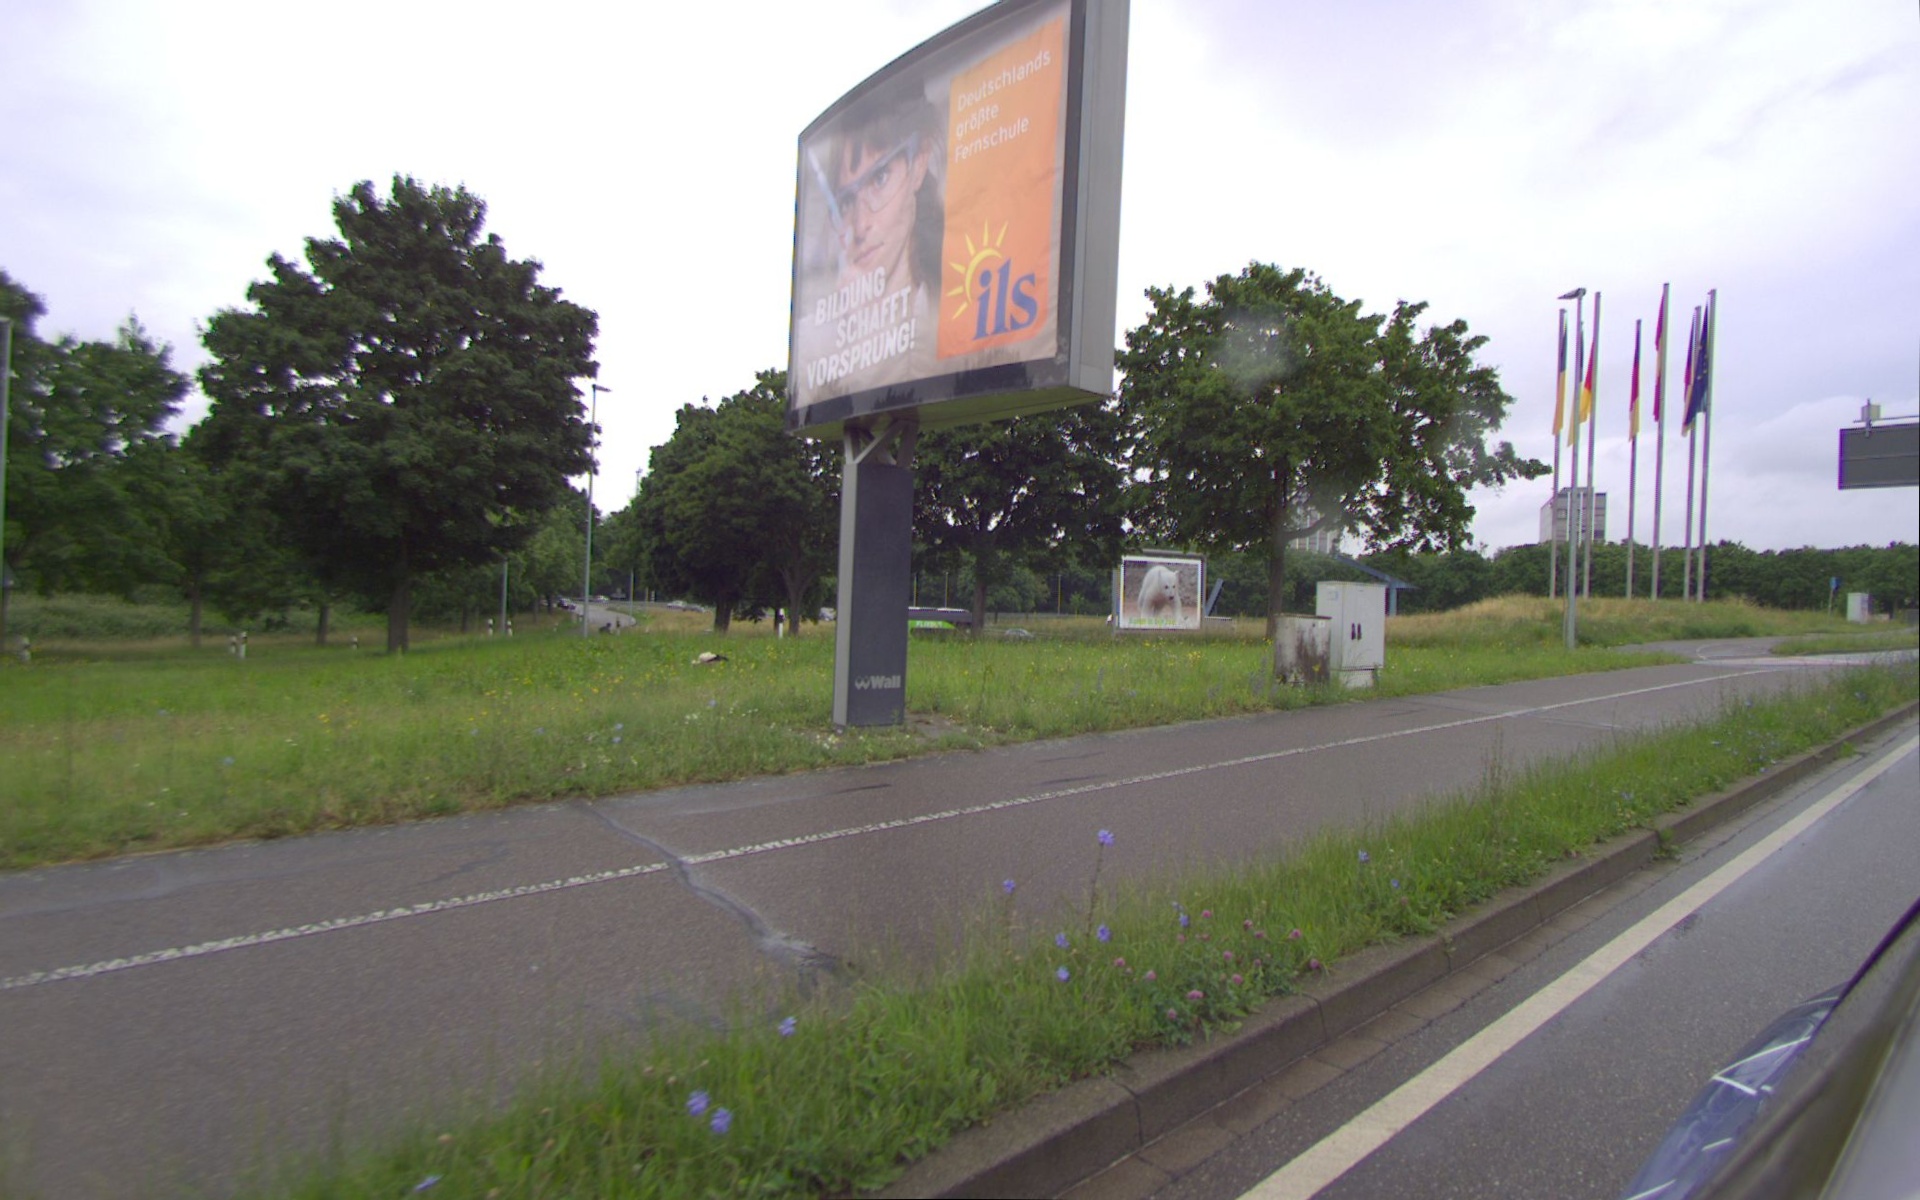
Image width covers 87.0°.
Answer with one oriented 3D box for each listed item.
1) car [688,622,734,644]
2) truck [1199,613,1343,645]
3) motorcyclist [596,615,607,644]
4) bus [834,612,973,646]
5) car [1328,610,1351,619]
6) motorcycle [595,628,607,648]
[{"bbox_3d":[-20.202,2.676,82.157,1.836,1.638,3.976,0,0,18],"label":"car"},{"bbox_3d":[36.461,3.315,119.289,16.121,3.433,2.721,0,0,30],"label":"truck"},{"bbox_3d":[-21.369,1.758,60.339,0.590,1.711,0.862,1,1,-22],"label":"motorcyclist"},{"bbox_3d":[-5.294,2.741,98.823,14.315,2.713,2.763,-1,1,-35],"label":"bus"},{"bbox_3d":[75.185,2.918,200.587,3.941,1.652,1.991,0,0,14],"label":"car"},{"bbox_3d":[-21.402,2.245,60.340,0.590,1.107,1.736,1,1,-22],"label":"motorcycle"}]
